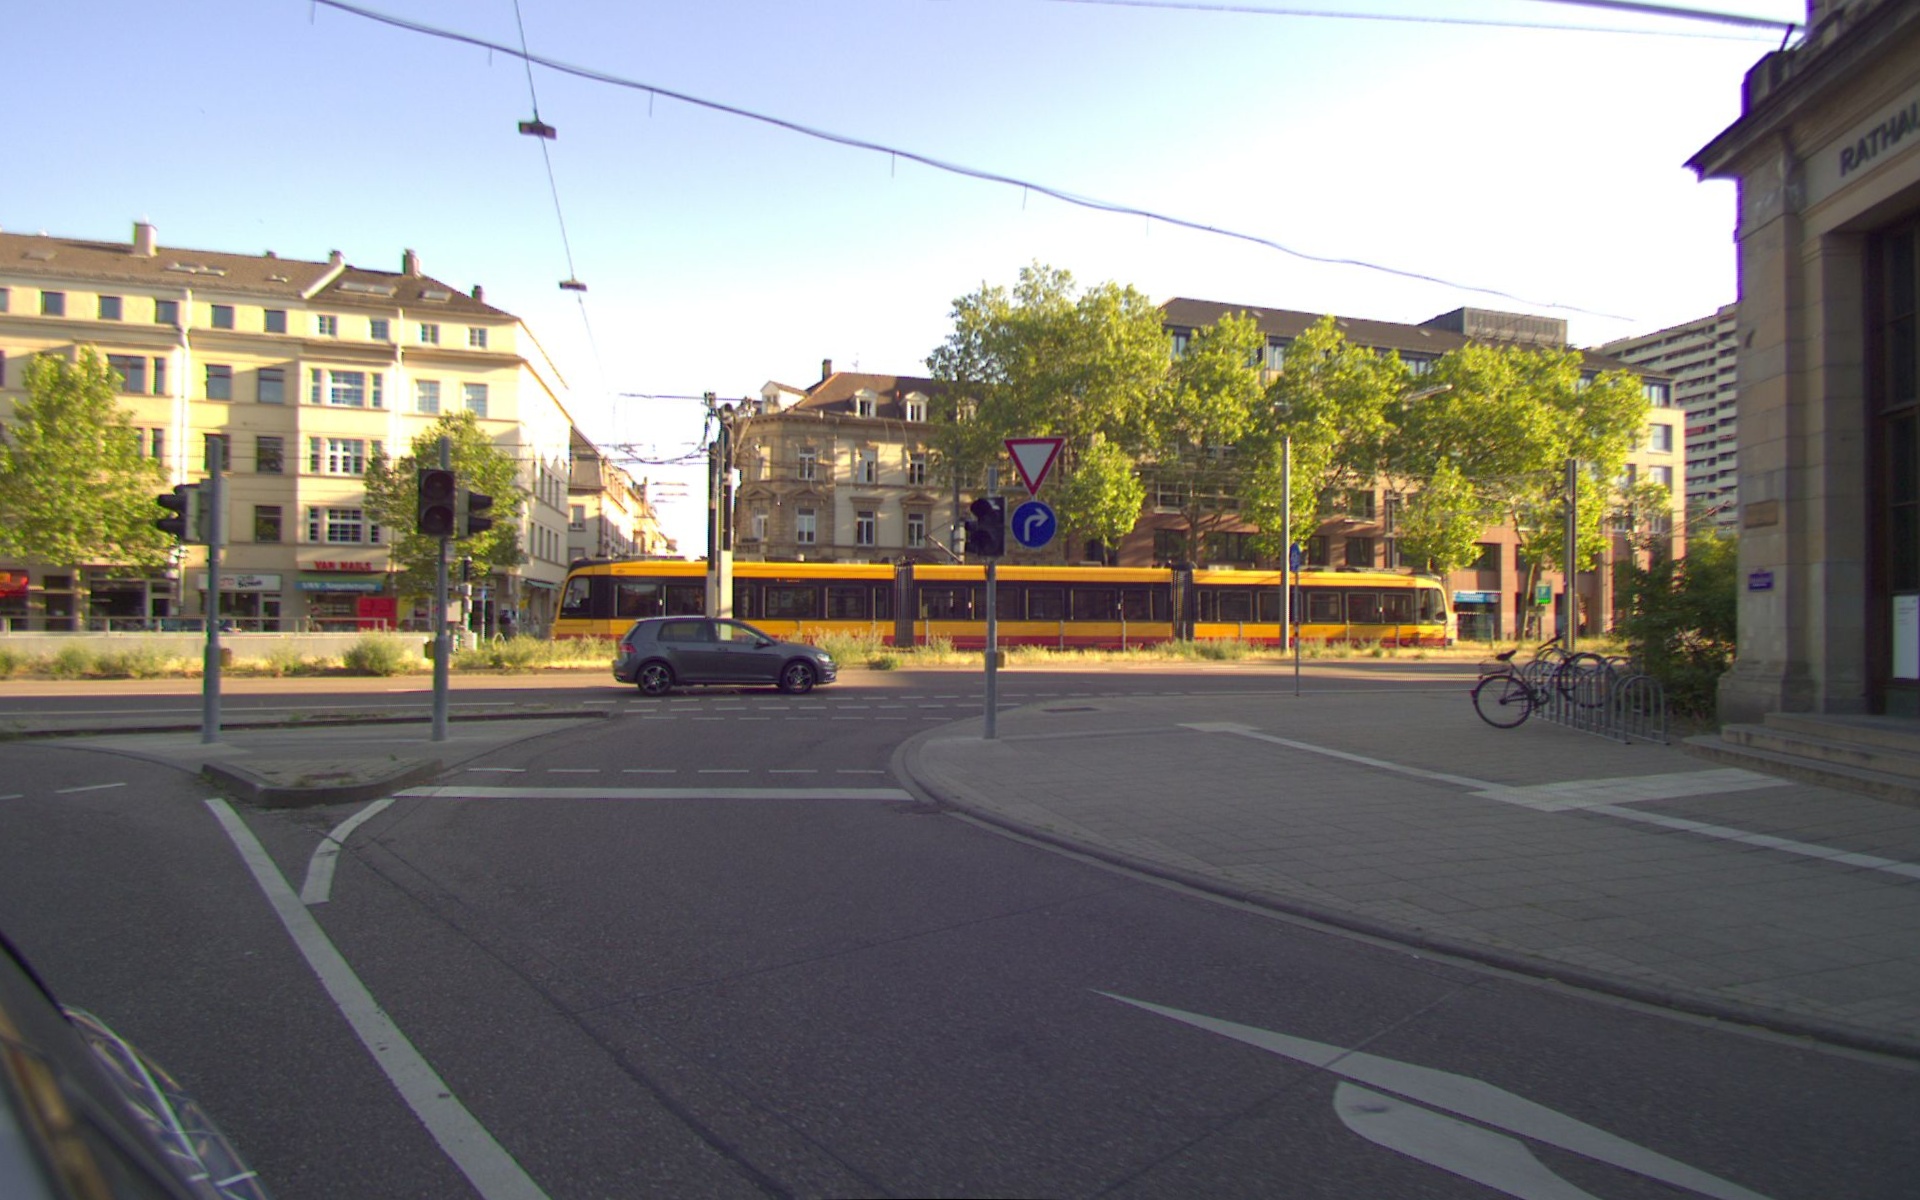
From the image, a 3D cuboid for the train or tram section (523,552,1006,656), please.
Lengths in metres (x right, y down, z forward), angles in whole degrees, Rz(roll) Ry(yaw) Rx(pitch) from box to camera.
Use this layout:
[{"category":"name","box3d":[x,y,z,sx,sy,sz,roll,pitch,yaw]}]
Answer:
[{"category":"train or tram section","box3d":[-7.028,0.254,38.284,17.198,3.586,3.128,1,-2,-9]}]

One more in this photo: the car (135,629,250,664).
[{"category":"car","box3d":[-33.018,2.002,43.625,3.647,1.342,1.463,1,0,-16]}]

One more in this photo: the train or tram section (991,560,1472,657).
[{"category":"train or tram section","box3d":[11.218,0.470,41.479,19.604,3.586,3.129,1,-2,-11]}]

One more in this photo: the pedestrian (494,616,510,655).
[{"category":"pedestrian","box3d":[-23.049,1.783,50.914,0.576,1.933,0.634,1,0,-15]}]

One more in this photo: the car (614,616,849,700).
[{"category":"car","box3d":[-4.354,1.042,19.237,4.172,1.437,1.776,0,0,-18]}]

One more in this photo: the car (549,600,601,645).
[{"category":"car","box3d":[-20.839,1.232,54.612,2.427,2.284,7.315,1,-2,-22]}]

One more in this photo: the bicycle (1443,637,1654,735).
[{"category":"bicycle","box3d":[7.701,1.104,13.339,2.212,1.205,0.868,0,-2,6]}]

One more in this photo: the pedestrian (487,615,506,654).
[{"category":"pedestrian","box3d":[-23.549,1.766,51.428,0.578,1.933,0.632,2,0,4]}]
